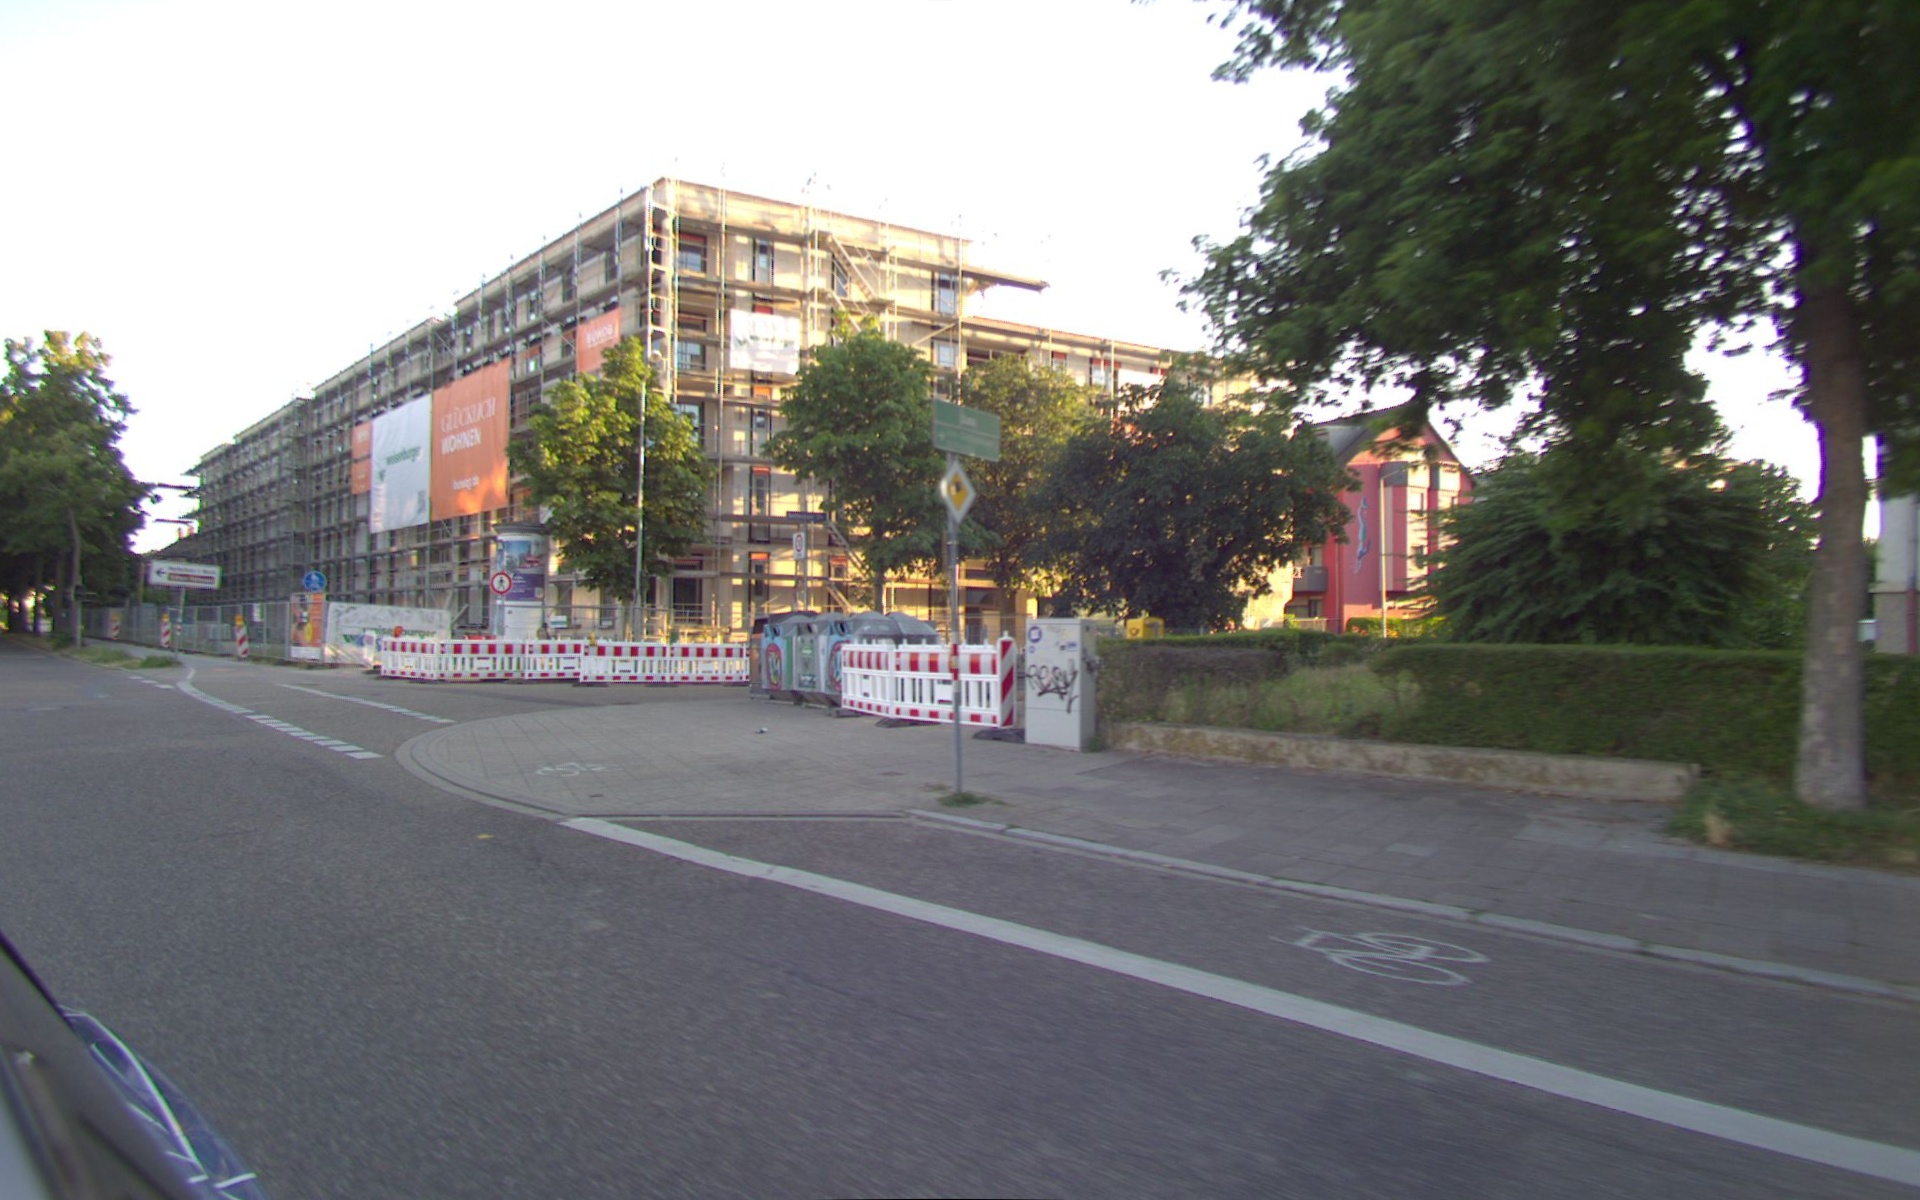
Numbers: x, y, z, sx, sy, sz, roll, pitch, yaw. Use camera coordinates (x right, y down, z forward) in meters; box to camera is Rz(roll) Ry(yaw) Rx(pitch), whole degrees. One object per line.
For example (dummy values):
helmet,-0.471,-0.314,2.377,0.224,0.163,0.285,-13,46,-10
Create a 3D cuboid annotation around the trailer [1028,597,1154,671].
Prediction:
trailer,4.739,1.261,36.595,4.113,2.559,2.006,2,-3,-27
